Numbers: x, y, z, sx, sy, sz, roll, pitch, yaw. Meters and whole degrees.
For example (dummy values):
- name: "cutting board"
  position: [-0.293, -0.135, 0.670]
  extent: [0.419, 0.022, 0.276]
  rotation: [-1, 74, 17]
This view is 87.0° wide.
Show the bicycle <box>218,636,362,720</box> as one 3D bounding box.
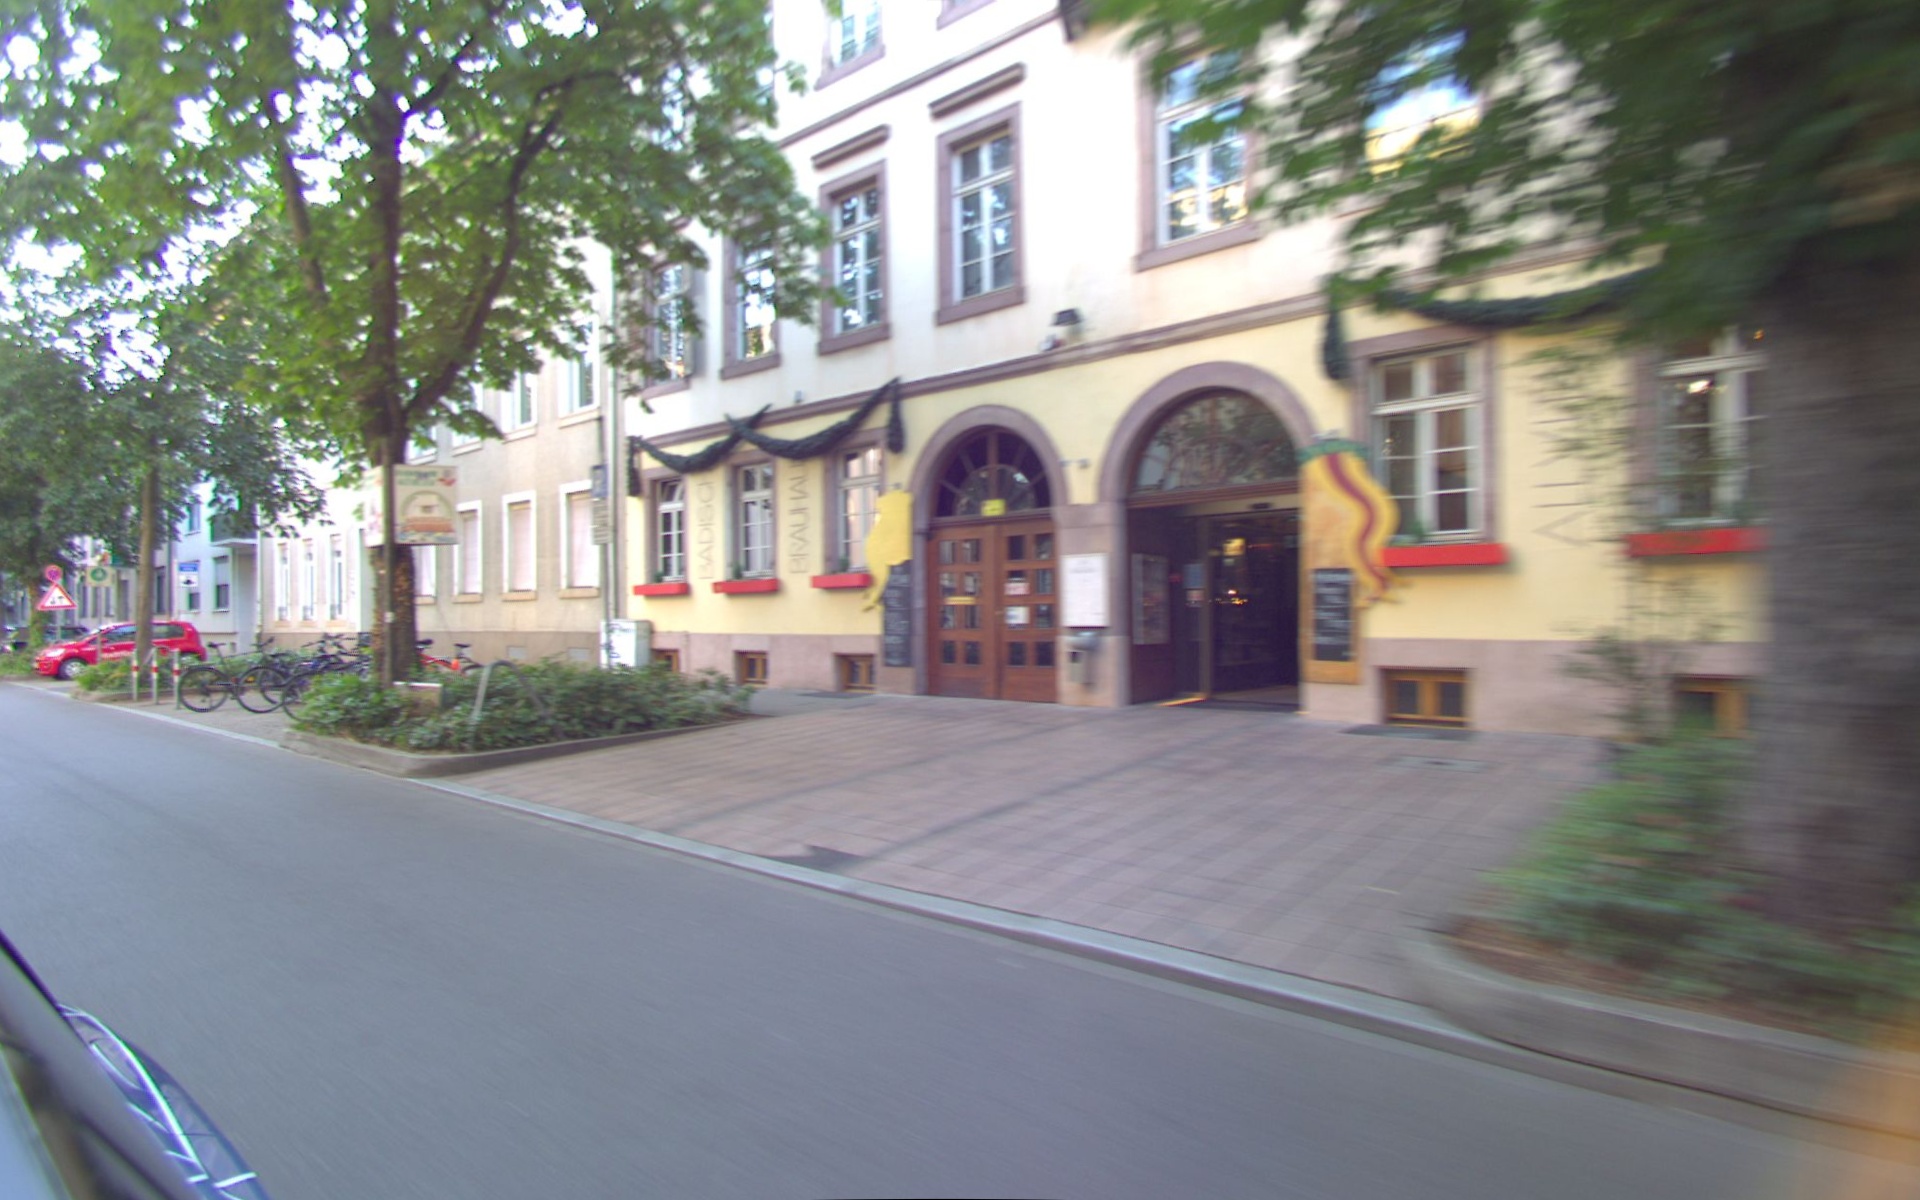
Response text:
- name: "bicycle"
  position: [-10.584, 1.200, 16.055]
  extent: [0.479, 1.153, 1.848]
  rotation: [-1, 1, 33]

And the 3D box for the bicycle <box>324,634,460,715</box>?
- name: "bicycle"
  position: [-8.965, 1.145, 16.055]
  extent: [0.479, 1.107, 1.848]
  rotation: [-1, 1, 34]

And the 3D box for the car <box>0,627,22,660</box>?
- name: "car"
  position: [-43.476, 2.001, 44.166]
  extent: [1.589, 1.430, 3.508]
  rotation: [-2, 1, 40]

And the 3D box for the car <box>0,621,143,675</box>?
- name: "car"
  position: [-28.771, 1.505, 32.586]
  extent: [1.588, 1.430, 3.510]
  rotation: [-2, 1, 37]

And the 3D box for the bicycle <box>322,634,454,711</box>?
- name: "bicycle"
  position: [-9.378, 1.163, 16.668]
  extent: [0.508, 1.107, 1.848]
  rotation: [-1, 1, 34]

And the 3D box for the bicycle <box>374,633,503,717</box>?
- name: "bicycle"
  position: [-7.802, 1.089, 15.209]
  extent: [0.479, 1.107, 1.693]
  rotation: [-1, 0, 34]

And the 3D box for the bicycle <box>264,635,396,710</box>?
- name: "bicycle"
  position: [-10.562, 1.189, 17.035]
  extent: [0.479, 1.107, 1.848]
  rotation: [-1, 1, 34]

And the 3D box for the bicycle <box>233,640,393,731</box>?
- name: "bicycle"
  position: [-9.083, 1.164, 14.291]
  extent: [0.479, 1.107, 1.848]
  rotation: [-1, 1, 34]

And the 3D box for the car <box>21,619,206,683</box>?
- name: "car"
  position: [-22.487, 1.316, 26.978]
  extent: [1.670, 1.416, 3.456]
  rotation: [-2, 1, 37]

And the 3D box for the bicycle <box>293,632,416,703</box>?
- name: "bicycle"
  position: [-10.811, 1.182, 18.138]
  extent: [0.479, 1.107, 1.848]
  rotation: [-1, 1, 34]

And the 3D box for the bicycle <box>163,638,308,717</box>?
- name: "bicycle"
  position: [-11.763, 1.227, 16.490]
  extent: [0.479, 1.106, 1.848]
  rotation: [-1, 1, 33]
